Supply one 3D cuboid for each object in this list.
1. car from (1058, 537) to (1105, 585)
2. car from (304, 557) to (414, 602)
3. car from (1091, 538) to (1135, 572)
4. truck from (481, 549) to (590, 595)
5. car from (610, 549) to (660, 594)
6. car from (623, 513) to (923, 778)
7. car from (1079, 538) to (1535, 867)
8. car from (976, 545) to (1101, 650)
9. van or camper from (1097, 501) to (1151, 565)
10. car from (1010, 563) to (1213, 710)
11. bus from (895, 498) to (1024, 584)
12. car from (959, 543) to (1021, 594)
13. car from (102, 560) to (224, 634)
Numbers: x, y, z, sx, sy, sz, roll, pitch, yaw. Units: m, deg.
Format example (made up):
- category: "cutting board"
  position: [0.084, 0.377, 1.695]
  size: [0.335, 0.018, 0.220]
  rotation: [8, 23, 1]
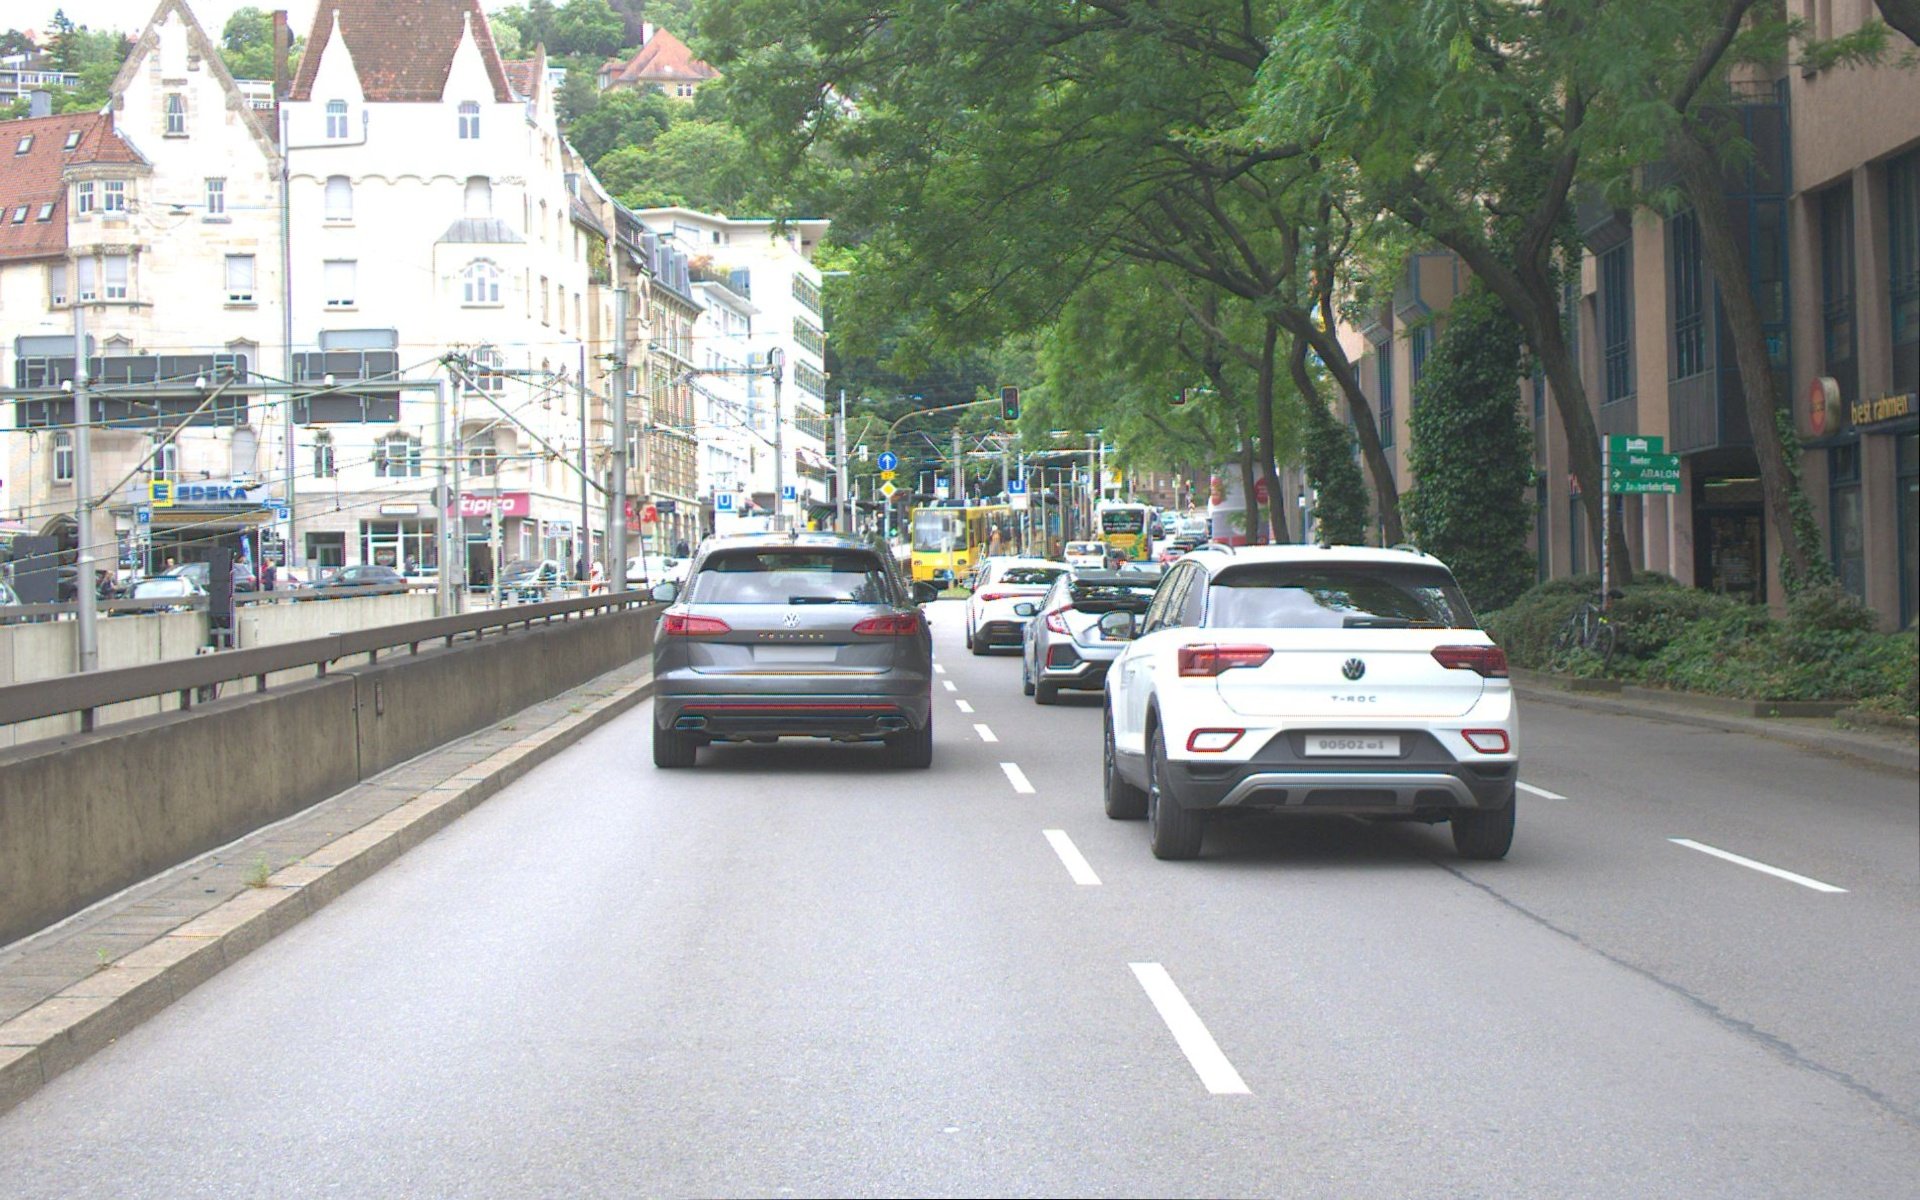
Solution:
- category: "car"
  position: [5.091, -1.634, 143.595]
  size: [1.832, 1.868, 4.870]
  rotation: [-2, 1, 3]
- category: "car"
  position: [-23.489, -0.822, 134.381]
  size: [3.986, 1.641, 1.825]
  rotation: [-1, 1, -2]
- category: "car"
  position: [6.970, -2.058, 156.249]
  size: [1.844, 1.464, 4.000]
  rotation: [-1, 1, 5]
- category: "truck"
  position: [-16.089, -1.081, 130.652]
  size: [2.108, 1.641, 4.792]
  rotation: [-1, 1, 20]
- category: "car"
  position: [-12.313, -1.101, 130.465]
  size: [1.818, 1.641, 4.001]
  rotation: [-1, 1, -5]
- category: "car"
  position: [-1.279, 0.250, 24.947]
  size: [1.970, 1.689, 4.225]
  rotation: [-1, 2, -1]
- category: "car"
  position: [1.704, 0.460, 18.126]
  size: [1.797, 1.540, 3.936]
  rotation: [0, 0, -3]
- category: "car"
  position: [1.217, -0.062, 54.332]
  size: [1.832, 1.512, 3.767]
  rotation: [-3, 1, 0]
- category: "van or camper"
  position: [8.439, -3.448, 176.241]
  size: [2.628, 3.167, 5.803]
  rotation: [-1, 1, 3]
- category: "car"
  position: [1.575, 0.348, 37.080]
  size: [1.833, 1.427, 4.148]
  rotation: [0, 1, -2]
- category: "bus"
  position: [0.144, -2.621, 152.709]
  size: [3.850, 3.520, 17.242]
  rotation: [-1, 1, 6]
- category: "car"
  position: [0.972, -1.033, 113.064]
  size: [1.832, 1.561, 3.767]
  rotation: [-2, 1, -2]
- category: "car"
  position: [-19.167, -0.098, 82.868]
  size: [1.993, 1.678, 4.000]
  rotation: [-1, 1, 0]
